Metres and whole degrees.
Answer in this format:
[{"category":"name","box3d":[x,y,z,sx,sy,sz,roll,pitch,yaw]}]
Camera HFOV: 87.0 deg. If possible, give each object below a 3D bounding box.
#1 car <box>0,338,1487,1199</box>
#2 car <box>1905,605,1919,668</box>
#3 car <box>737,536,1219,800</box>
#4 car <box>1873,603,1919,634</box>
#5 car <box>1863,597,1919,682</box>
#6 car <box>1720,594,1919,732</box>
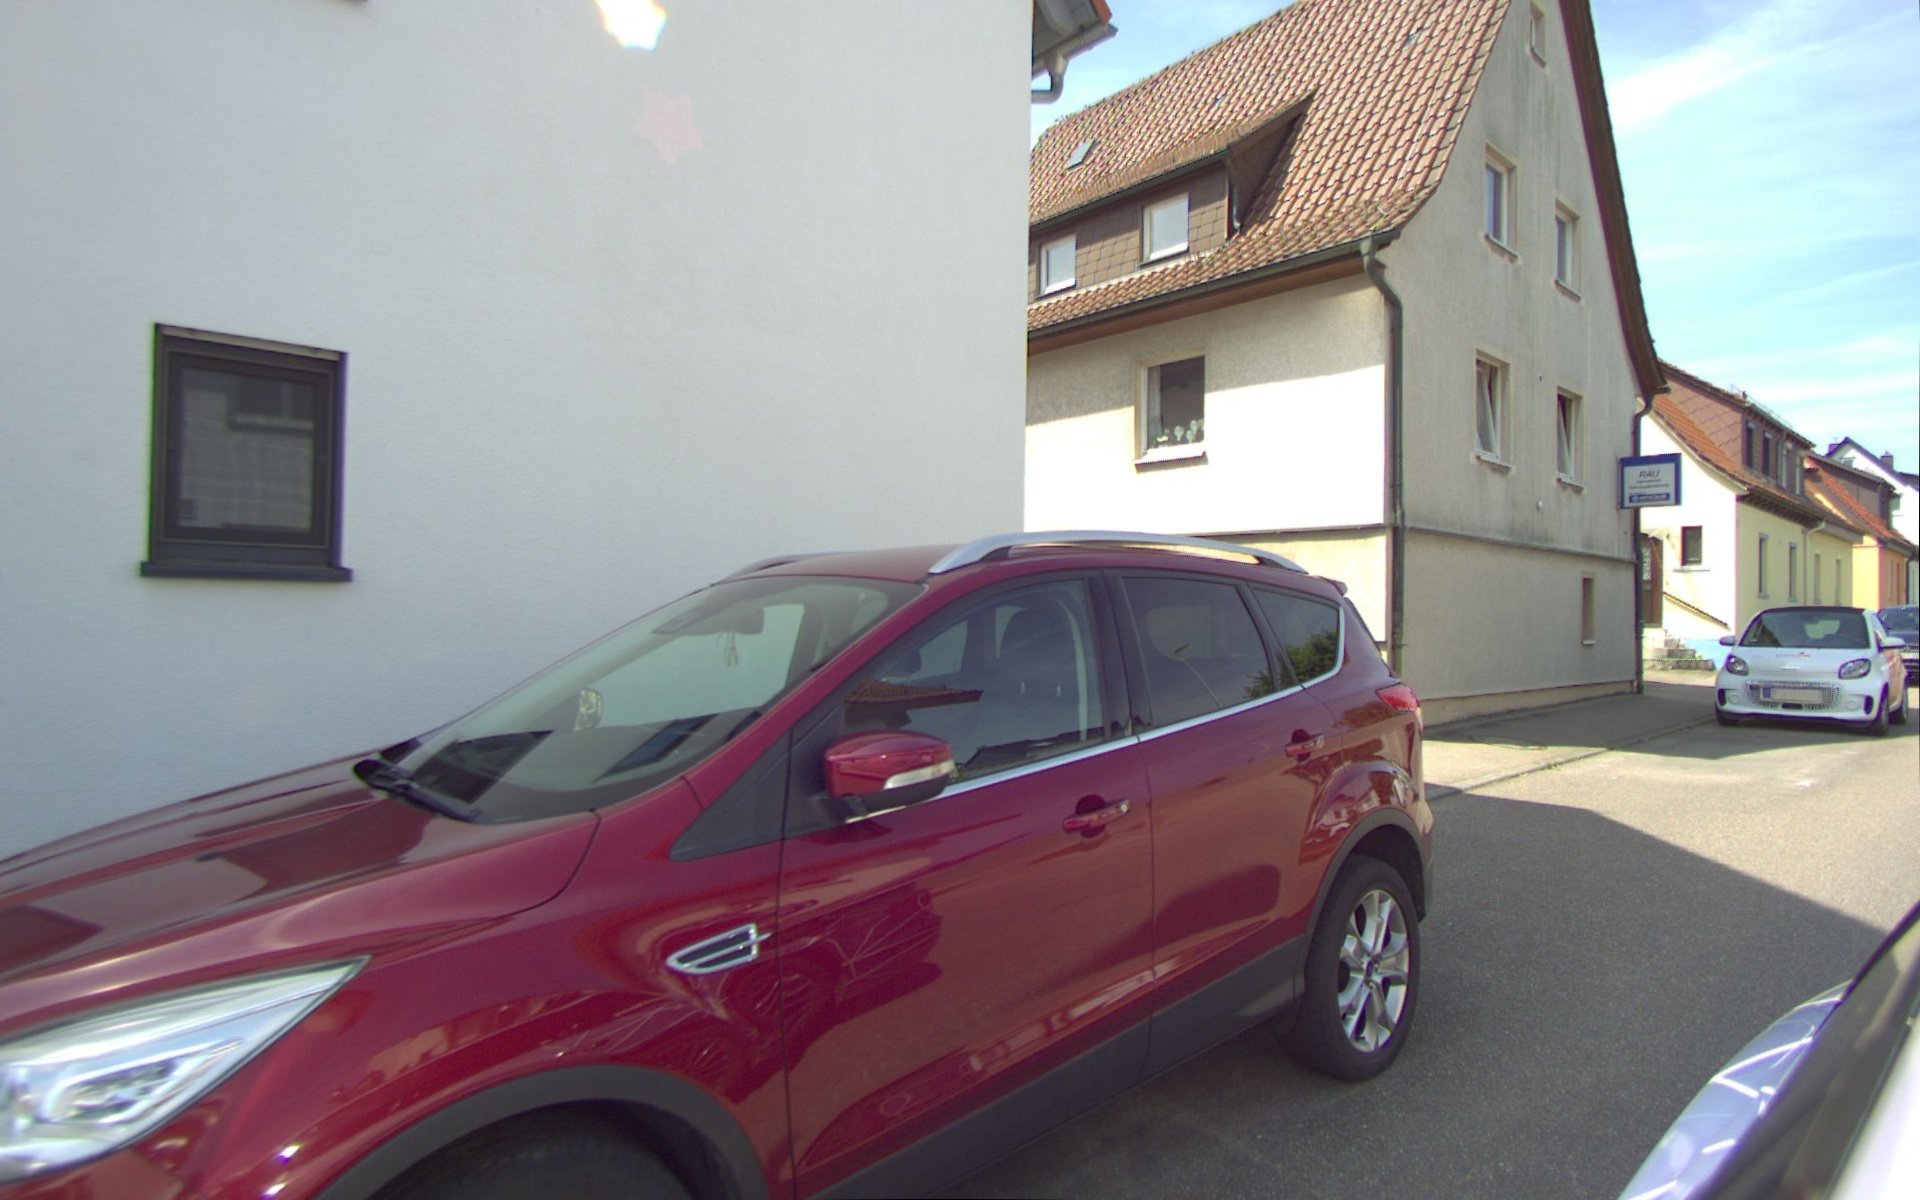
[{"category":"car","box3d":[-0.336,0.597,2.921,4.109,1.722,1.879,0,-1,-40]},{"category":"car","box3d":[24.017,0.846,24.288,3.689,1.449,1.612,0,-1,-42]},{"category":"car","box3d":[-0.065,0.502,9.502,1.966,1.866,4.520,1,-1,-43]},{"category":"car","box3d":[52.046,0.995,54.221,1.812,1.674,4.309,0,-1,-32]},{"category":"car","box3d":[19.848,0.755,20.525,4.178,1.620,1.731,0,-1,-41]},{"category":"car","box3d":[11.321,0.731,13.209,2.988,1.579,1.676,0,-1,-42]}]
